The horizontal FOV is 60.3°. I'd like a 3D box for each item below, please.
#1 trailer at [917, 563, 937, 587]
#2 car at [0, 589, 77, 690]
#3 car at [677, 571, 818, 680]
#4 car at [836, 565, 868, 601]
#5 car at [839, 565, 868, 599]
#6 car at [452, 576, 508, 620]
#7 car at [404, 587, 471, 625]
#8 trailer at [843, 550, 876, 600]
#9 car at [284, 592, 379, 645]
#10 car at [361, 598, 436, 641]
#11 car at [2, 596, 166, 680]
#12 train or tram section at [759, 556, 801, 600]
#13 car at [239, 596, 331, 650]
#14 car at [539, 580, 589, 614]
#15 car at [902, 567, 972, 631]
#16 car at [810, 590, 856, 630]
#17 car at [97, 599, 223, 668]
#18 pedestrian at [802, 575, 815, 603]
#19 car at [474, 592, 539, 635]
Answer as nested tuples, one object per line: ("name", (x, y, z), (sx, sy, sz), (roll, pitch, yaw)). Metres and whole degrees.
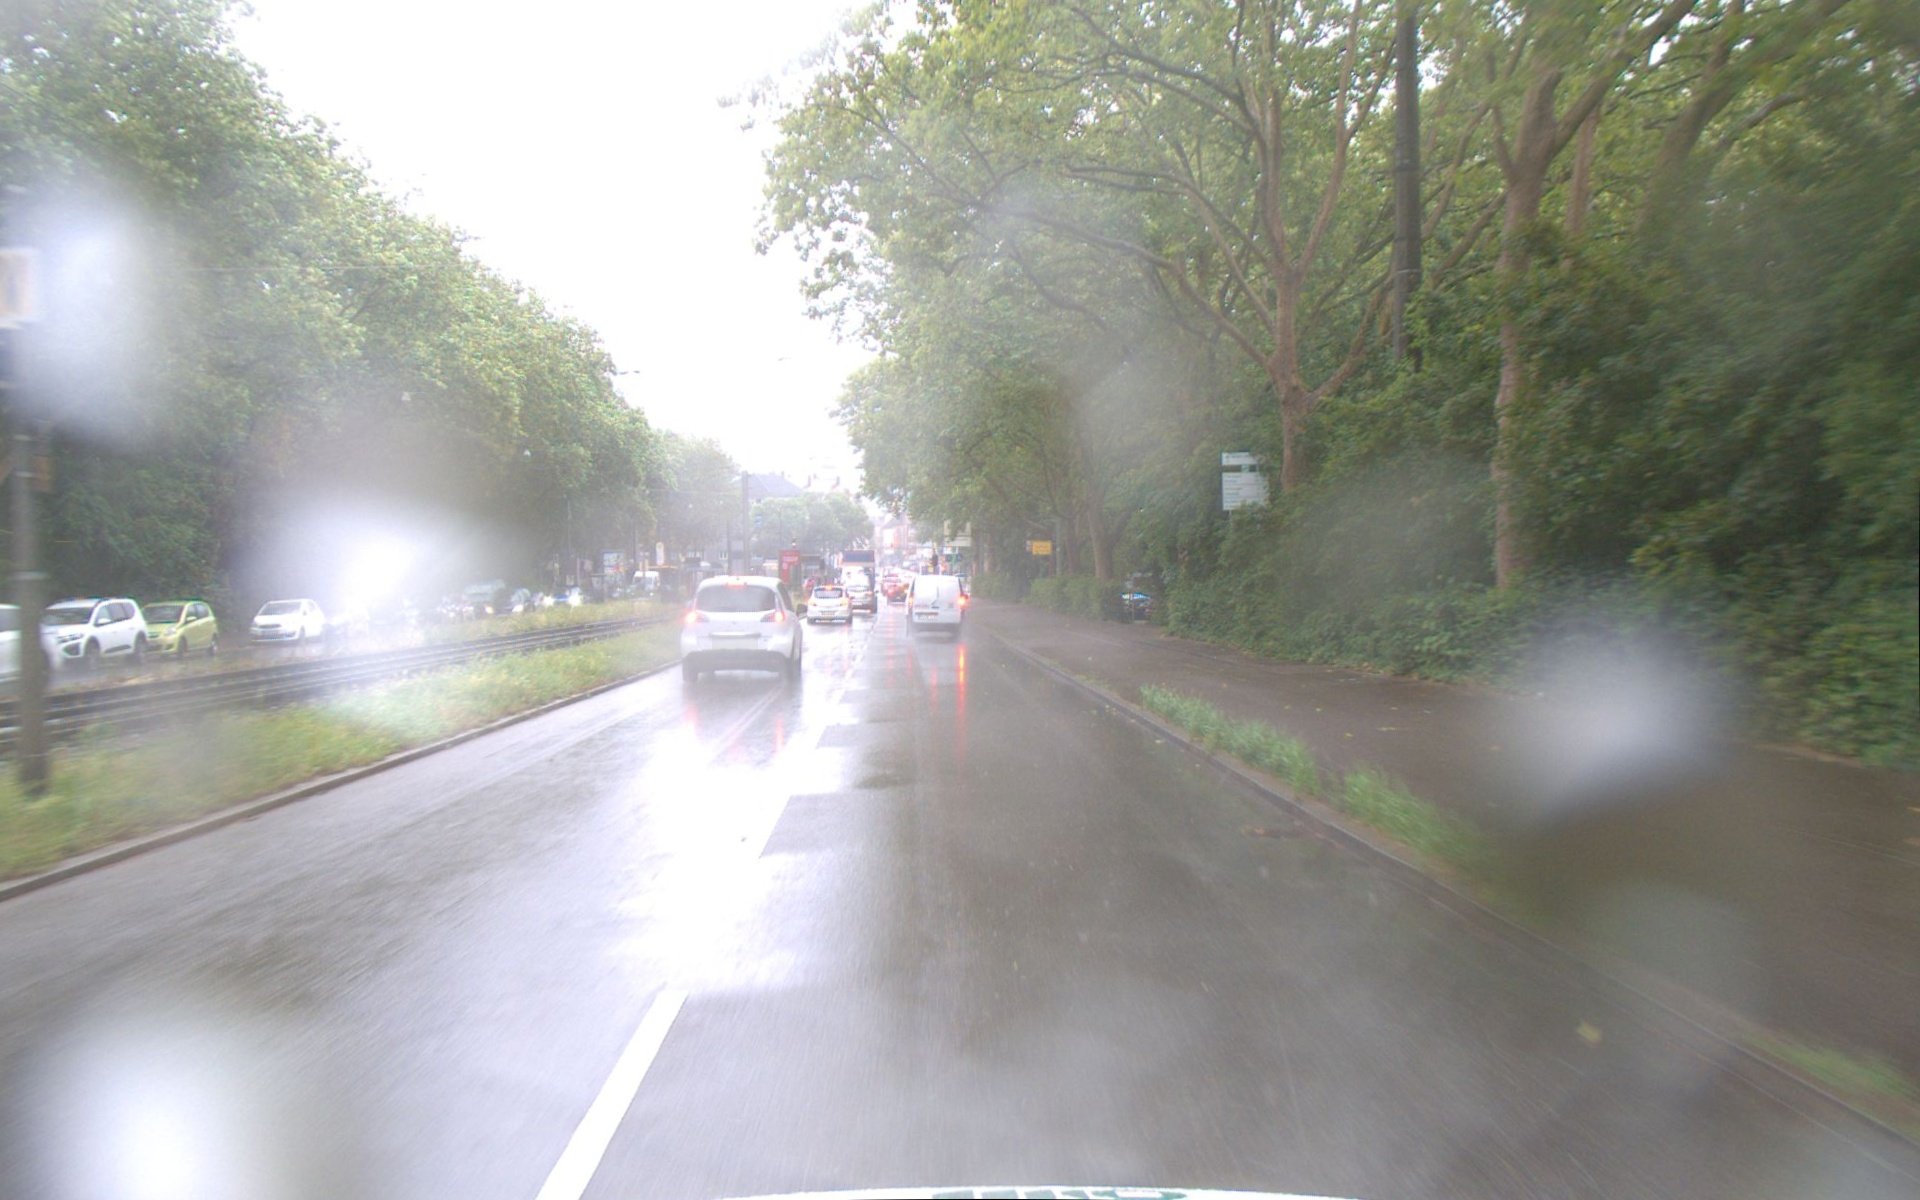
("trailer", (-3.417, -2.605, 171.889), (1.954, 2.357, 4.665), (0, 0, -3))
("car", (-16.141, 0.660, 26.273), (1.940, 1.594, 4.764), (-2, 0, -5))
("car", (-3.435, 0.381, 27.462), (1.827, 1.652, 4.262), (0, 0, -1))
("car", (-8.089, -1.242, 124.271), (2.283, 2.602, 6.110), (0, 0, -3))
("car", (-7.396, -1.237, 115.508), (1.954, 2.302, 5.285), (0, 0, -3))
("car", (-24.968, -0.117, 86.131), (1.993, 2.129, 4.797), (-2, 0, -7))
("car", (-23.785, 0.252, 75.450), (1.992, 1.686, 4.605), (0, 0, -5))
("trailer", (-8.175, -2.012, 133.739), (2.539, 3.968, 7.630), (0, 1, -4))
("car", (-22.857, 0.623, 60.355), (1.992, 1.781, 4.689), (-2, 0, -5))
("car", (-23.289, 0.777, 68.802), (1.993, 1.686, 4.603), (-1, 0, -7))
("car", (-20.326, 0.831, 38.593), (1.716, 1.758, 4.527), (-2, 0, -5))
("train or tram section", (-14.325, -1.827, 132.006), (2.903, 3.342, 8.354), (-2, 2, -4))
("car", (-22.543, 0.737, 55.378), (1.727, 1.677, 3.809), (-2, 0, -5))
("car", (-22.133, -0.180, 92.588), (1.992, 1.781, 4.689), (-2, 0, -5))
("car", (-0.725, -0.007, 48.712), (1.920, 1.808, 3.567), (0, 0, -3))
("car", (-4.901, 0.379, 64.313), (1.691, 1.505, 3.803), (0, 0, -3))
("car", (-21.300, 0.848, 44.188), (1.727, 1.677, 3.809), (-2, 0, -5))
("pedestrian", (-9.764, -0.701, 106.906), (0.775, 1.744, 0.770), (2, -1, -4))
("car", (-20.041, 0.587, 73.317), (1.992, 1.781, 4.255), (-2, 0, -5))
